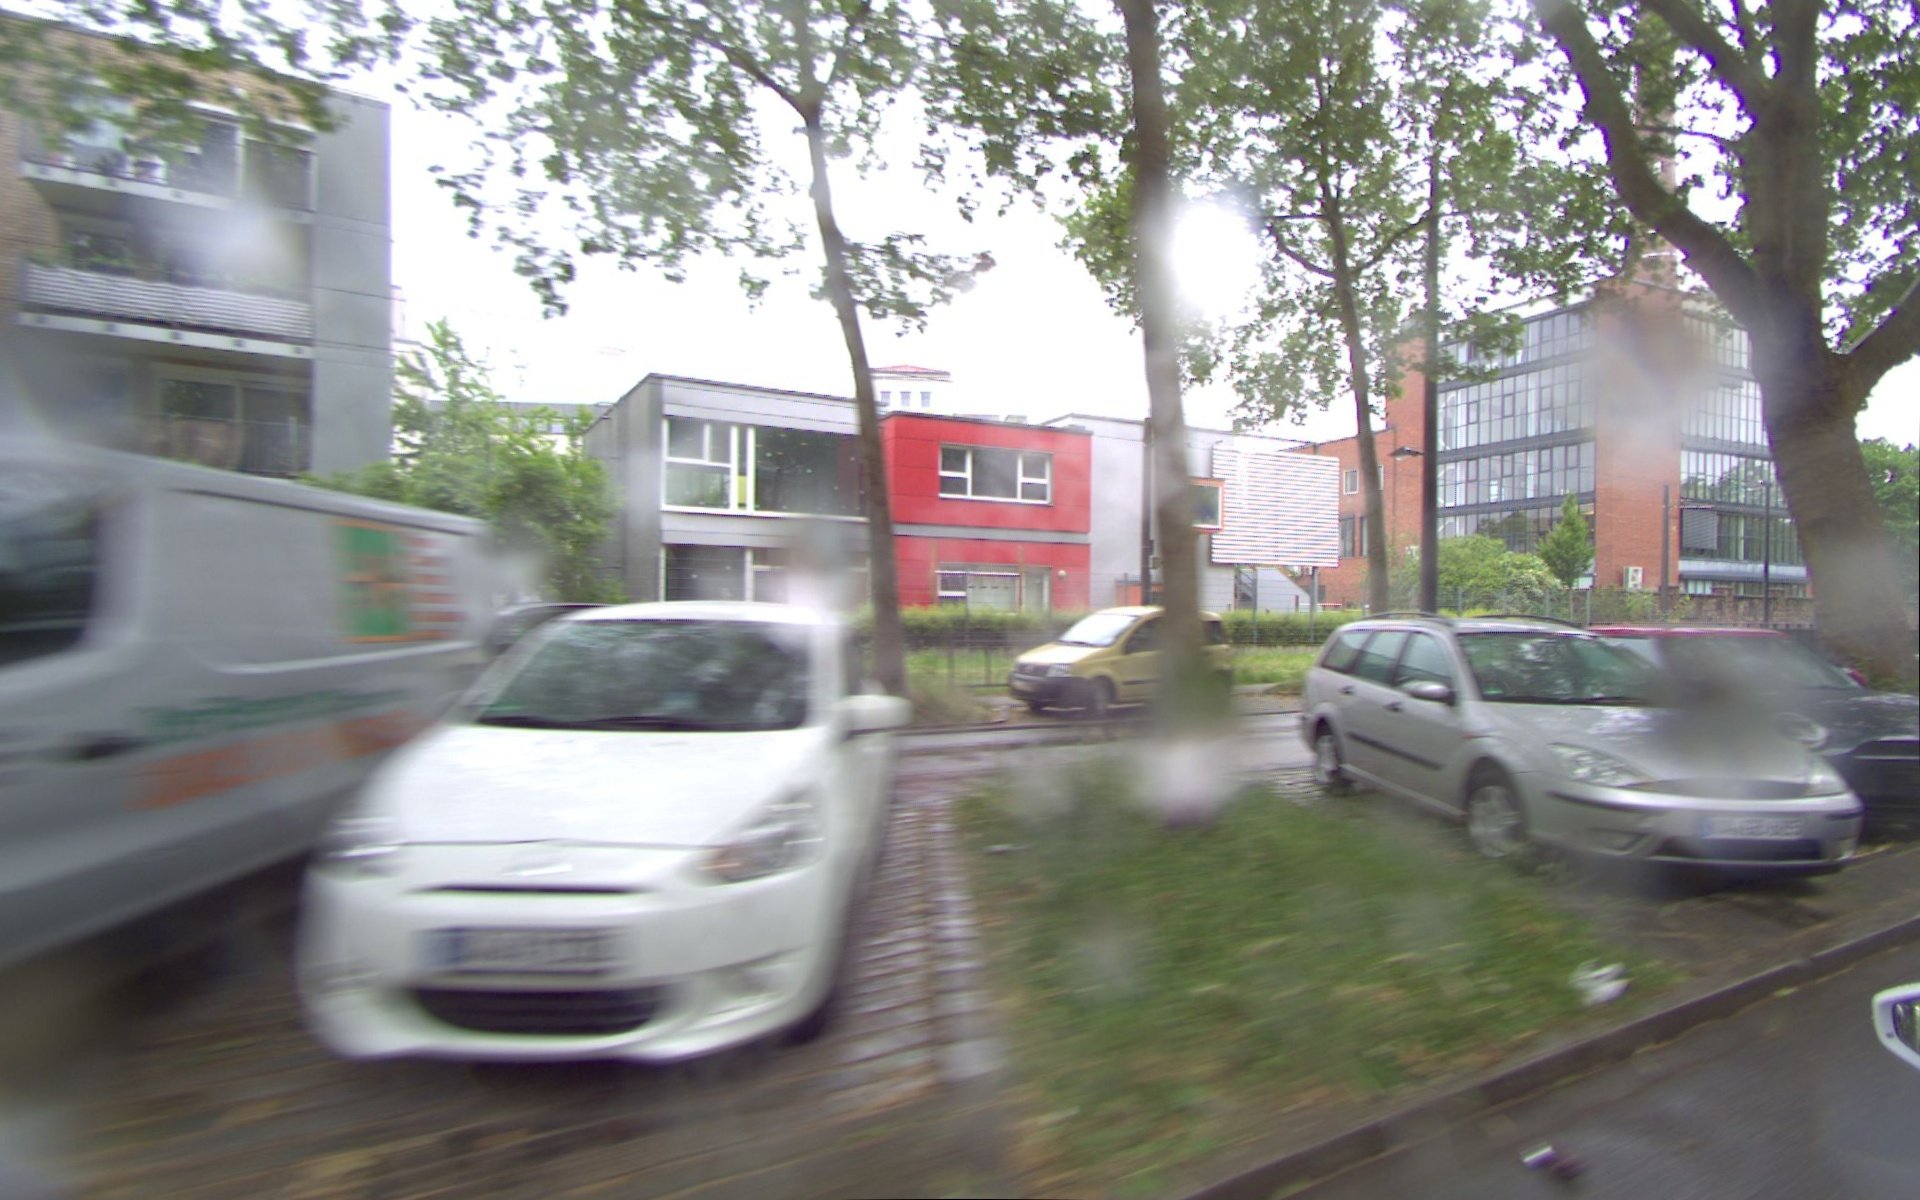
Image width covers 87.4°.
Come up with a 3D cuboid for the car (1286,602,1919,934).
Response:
[{"bbox_3d":[3.839,0.828,6.893,1.740,1.501,4.562,1,-1,0],"label":"car"}]

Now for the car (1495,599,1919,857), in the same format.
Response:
[{"bbox_3d":[6.055,0.819,7.938,1.688,1.541,3.819,1,-1,1],"label":"car"}]

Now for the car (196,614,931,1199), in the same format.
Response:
[{"bbox_3d":[-1.078,0.844,4.482,1.688,1.501,3.787,1,-1,1],"label":"car"}]

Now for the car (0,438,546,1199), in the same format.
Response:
[{"bbox_3d":[-3.437,0.601,3.144,2.061,2.003,5.133,1,-1,1],"label":"car"}]

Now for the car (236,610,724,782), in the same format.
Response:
[{"bbox_3d":[-4.811,0.825,10.403,4.225,1.439,1.982,0,0,-33],"label":"car"}]

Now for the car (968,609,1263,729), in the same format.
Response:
[{"bbox_3d":[2.321,0.956,14.873,3.953,1.528,1.984,2,-1,-30],"label":"car"}]
